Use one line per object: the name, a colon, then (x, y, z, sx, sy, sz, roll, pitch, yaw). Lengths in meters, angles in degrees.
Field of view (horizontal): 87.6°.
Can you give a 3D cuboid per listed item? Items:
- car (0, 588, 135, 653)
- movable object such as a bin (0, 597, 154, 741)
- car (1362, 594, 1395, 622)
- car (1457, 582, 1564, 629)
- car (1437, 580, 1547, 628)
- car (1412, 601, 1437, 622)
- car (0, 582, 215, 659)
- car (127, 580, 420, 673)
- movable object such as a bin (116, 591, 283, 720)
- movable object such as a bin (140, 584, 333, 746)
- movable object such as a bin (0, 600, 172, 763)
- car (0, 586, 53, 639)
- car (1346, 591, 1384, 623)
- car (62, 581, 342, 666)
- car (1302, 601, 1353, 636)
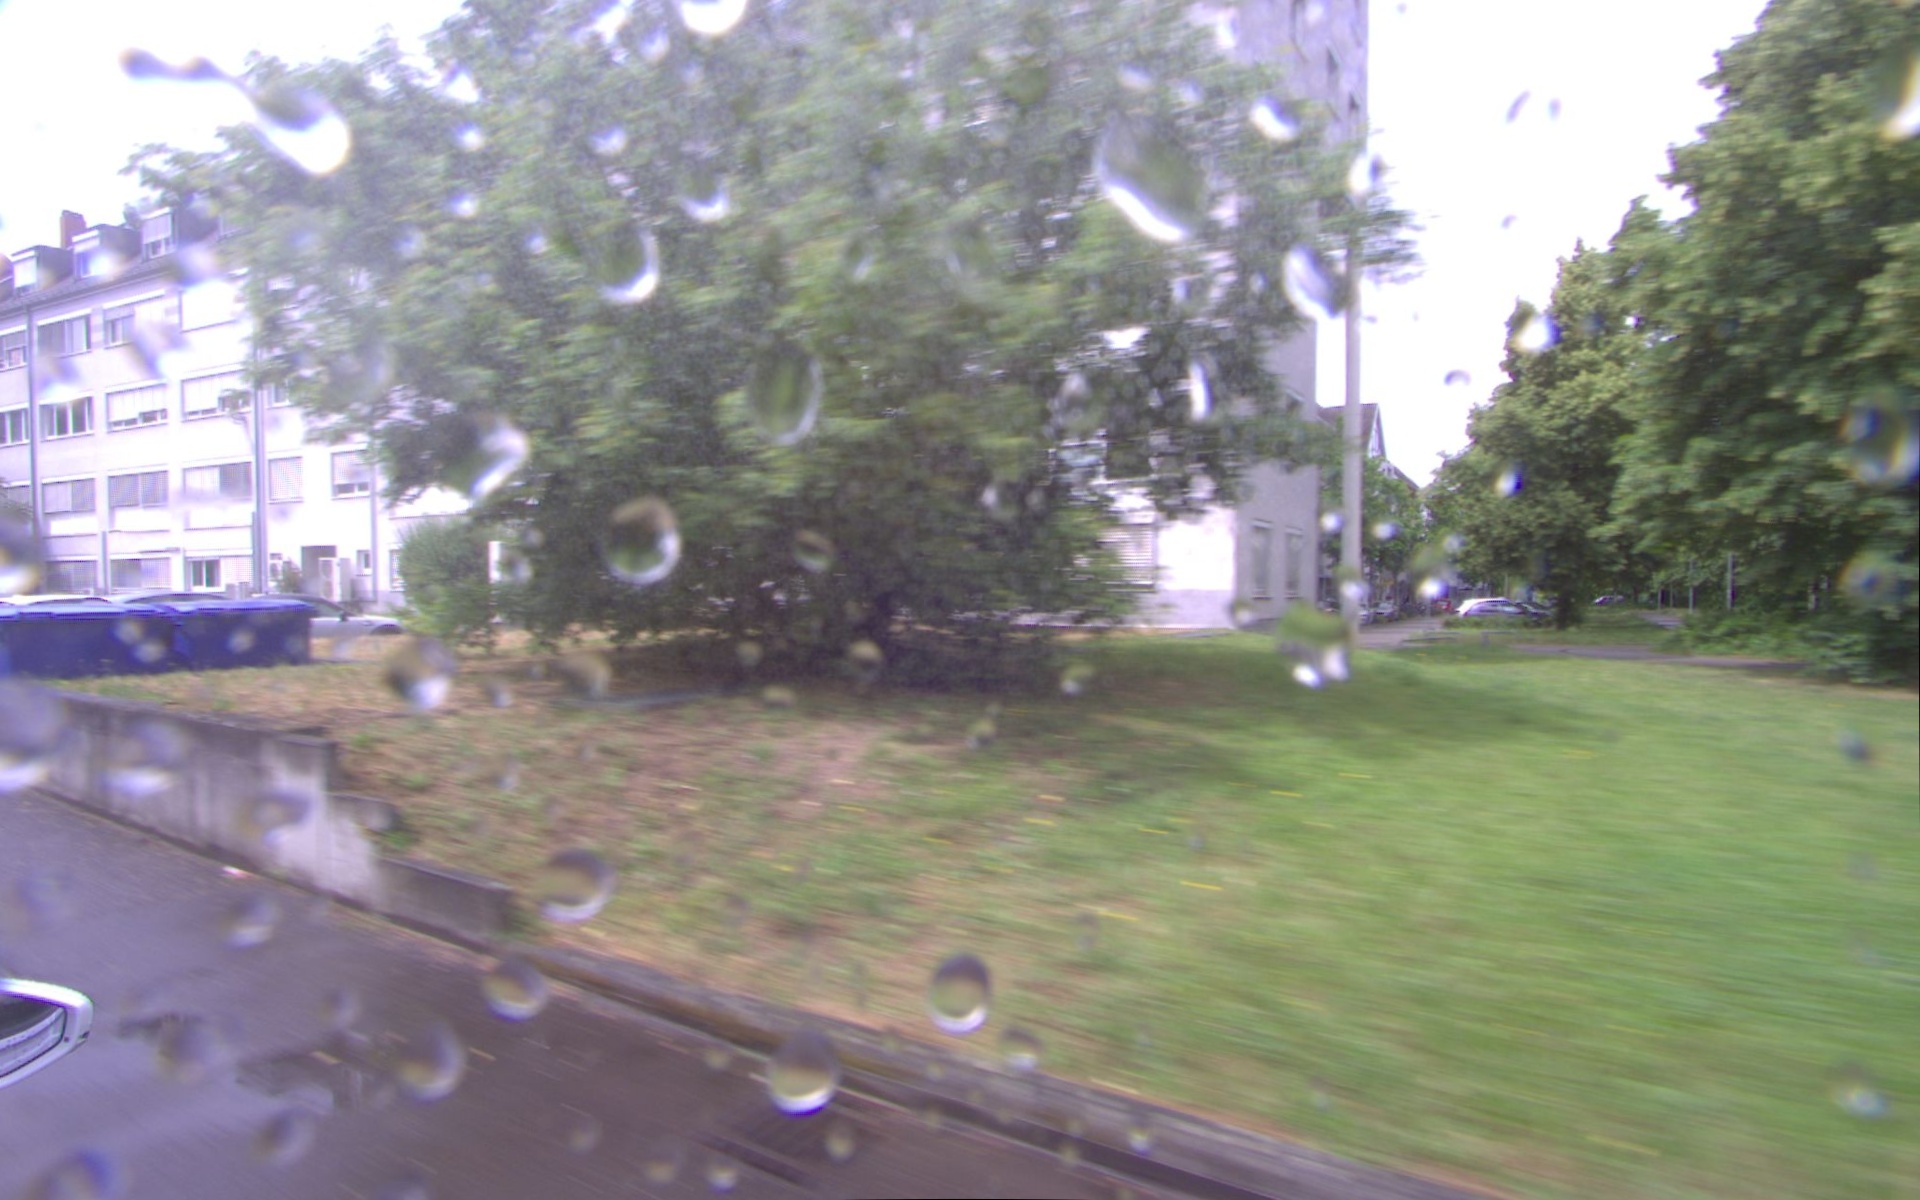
car: (-22.368, 0.467, 23.517, 1.908, 1.420, 4.167, 0, 2, 26)
movable object such as a bin: (-9.363, 0.666, 10.427, 1.040, 1.336, 1.227, 2, 3, 32)
car: (29.401, 0.552, 70.277, 1.899, 1.837, 4.131, 2, 0, 25)
car: (26.299, 0.238, 47.900, 4.316, 2.040, 1.990, 2, 1, 32)
car: (24.552, 0.183, 46.257, 4.316, 2.040, 1.990, 2, 1, 32)
car: (41.568, 1.032, 89.615, 1.899, 1.837, 4.131, 2, 0, 25)
car: (-19.243, 0.379, 22.115, 1.804, 1.475, 4.092, 1, 2, 28)
car: (-12.267, 0.380, 18.152, 1.765, 1.373, 3.977, 1, 3, 32)
movable object such as a bin: (-8.707, 0.585, 11.495, 1.040, 1.336, 1.227, 2, 3, 32)
movable object such as a bin: (-7.386, 0.614, 10.254, 1.085, 1.503, 1.273, 2, 1, 32)
movable object such as a bin: (-8.114, 0.691, 9.125, 1.040, 1.335, 1.172, 2, 1, 32)
car: (-26.435, 0.347, 25.665, 1.830, 1.367, 4.351, 2, 2, 26)
car: (25.083, 0.420, 61.948, 1.899, 1.837, 4.131, 2, 0, 25)
car: (-14.780, 0.387, 19.787, 1.642, 1.478, 4.074, 0, 1, 29)
car: (19.709, 0.991, 53.588, 1.759, 1.732, 3.963, 2, 0, 31)
